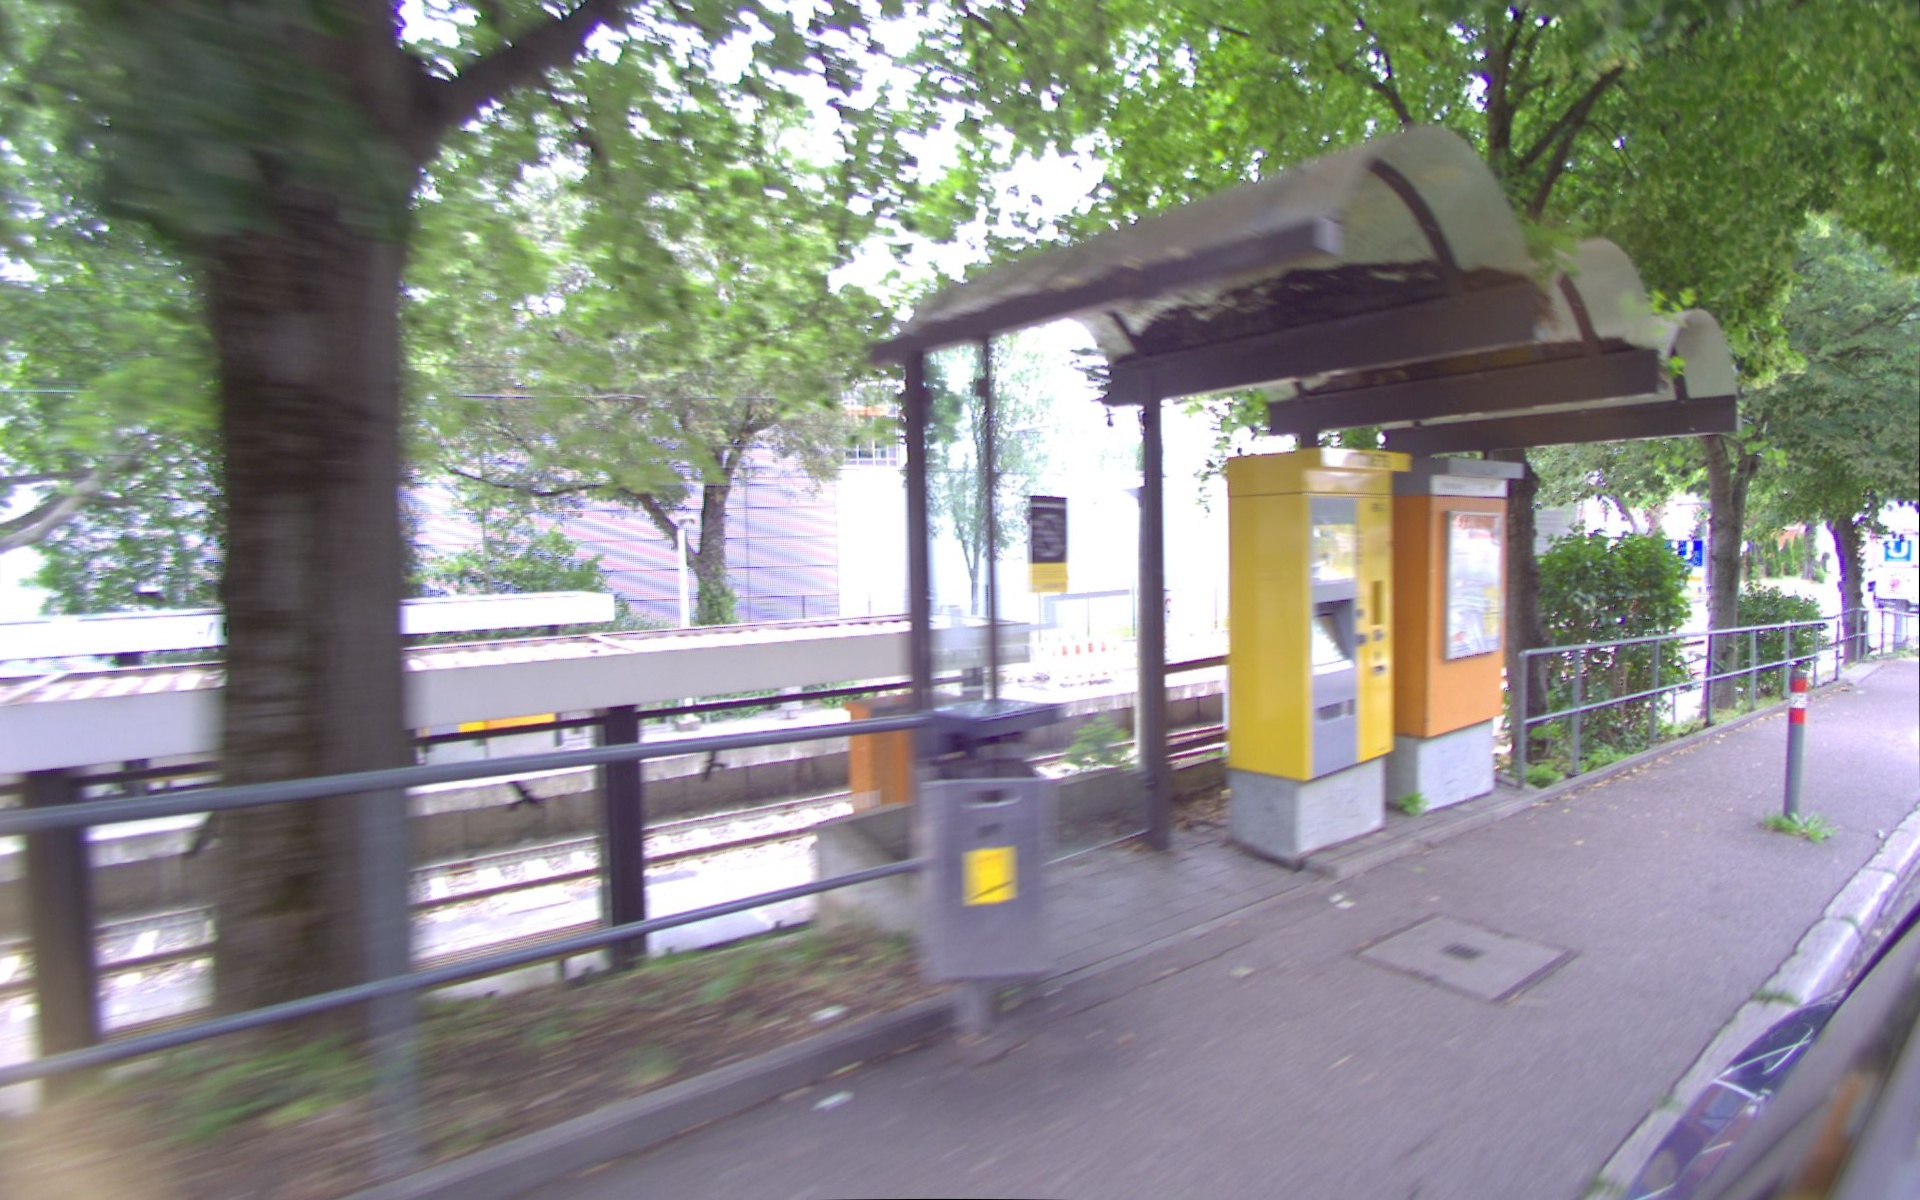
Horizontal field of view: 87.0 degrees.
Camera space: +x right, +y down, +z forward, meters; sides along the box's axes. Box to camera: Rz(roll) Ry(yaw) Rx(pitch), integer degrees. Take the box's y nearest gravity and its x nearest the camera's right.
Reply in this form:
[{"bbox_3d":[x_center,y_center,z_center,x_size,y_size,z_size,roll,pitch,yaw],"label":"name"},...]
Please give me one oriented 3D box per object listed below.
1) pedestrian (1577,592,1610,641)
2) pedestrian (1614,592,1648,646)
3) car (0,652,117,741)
[{"bbox_3d":[22.876,0.589,36.551,0.670,1.696,0.755,-1,1,-29],"label":"pedestrian"},{"bbox_3d":[23.447,0.642,35.382,0.670,1.826,0.755,-1,1,-29],"label":"pedestrian"},{"bbox_3d":[-22.944,2.330,25.116,1.958,1.723,4.009,-1,2,-22],"label":"car"}]
